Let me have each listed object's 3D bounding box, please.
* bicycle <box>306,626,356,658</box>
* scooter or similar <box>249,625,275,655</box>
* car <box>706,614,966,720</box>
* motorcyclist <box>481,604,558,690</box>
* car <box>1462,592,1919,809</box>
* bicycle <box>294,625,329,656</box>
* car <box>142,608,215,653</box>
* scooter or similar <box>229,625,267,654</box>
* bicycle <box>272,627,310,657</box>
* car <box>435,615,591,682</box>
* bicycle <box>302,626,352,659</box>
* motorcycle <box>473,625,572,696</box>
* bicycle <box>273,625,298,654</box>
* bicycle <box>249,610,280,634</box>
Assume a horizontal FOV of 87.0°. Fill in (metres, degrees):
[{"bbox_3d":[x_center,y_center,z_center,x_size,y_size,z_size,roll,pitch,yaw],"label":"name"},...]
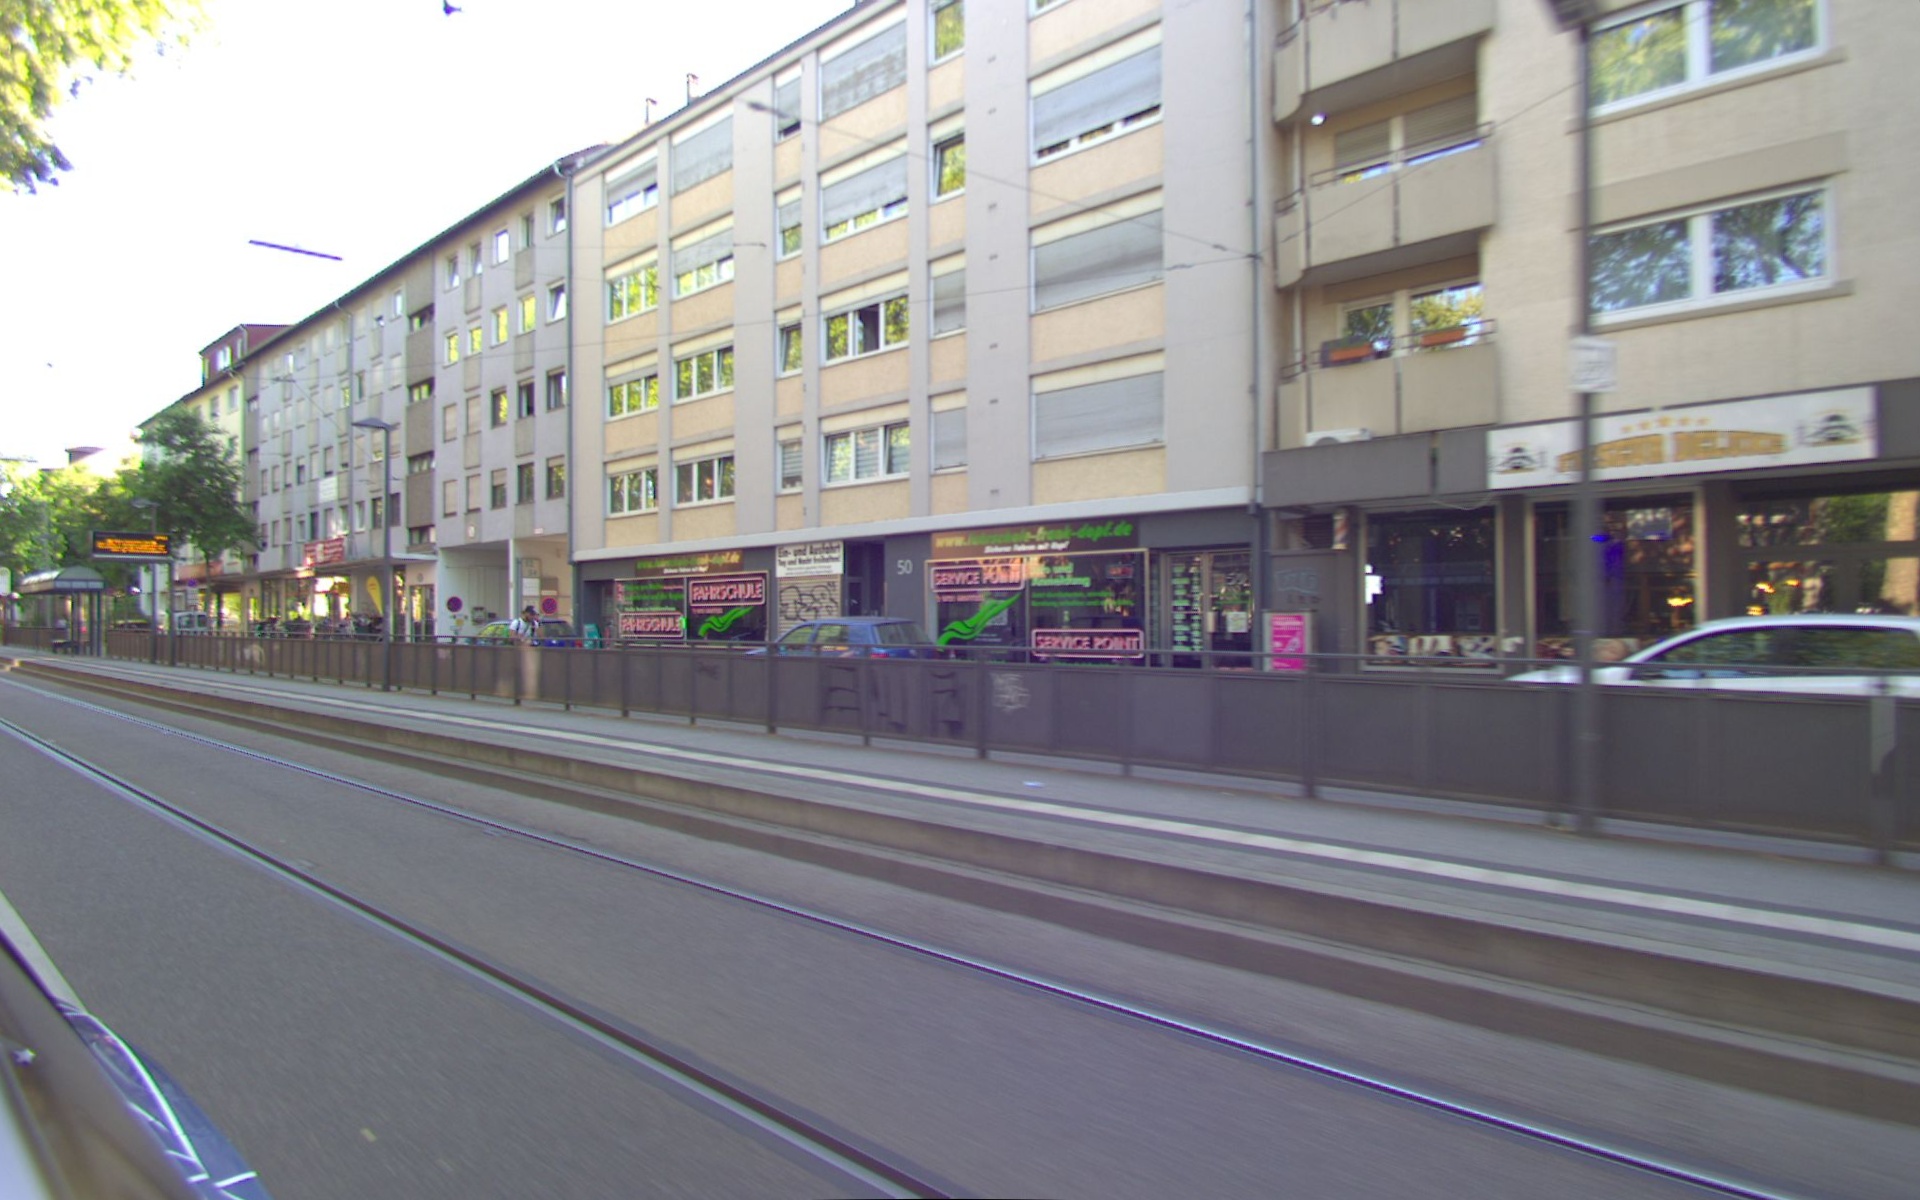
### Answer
[{"bbox_3d":[-23.133,1.537,37.215,2.019,1.165,0.556,-1,-2,26],"label":"bicycle"},{"bbox_3d":[-28.074,1.605,40.701,1.272,1.183,0.440,-1,-2,36],"label":"scooter or similar"},{"bbox_3d":[-2.176,1.045,17.088,4.386,1.556,1.935,-1,-3,41],"label":"car"},{"bbox_3d":[-7.703,0.807,17.704,1.015,1.451,0.864,-1,-2,40],"label":"motorcyclist"},{"bbox_3d":[7.161,0.816,9.199,4.354,1.664,1.859,-1,-2,40],"label":"car"},{"bbox_3d":[-24.760,1.531,38.626,1.748,1.165,0.488,-1,-2,35],"label":"bicycle"},{"bbox_3d":[-35.850,1.386,46.412,4.045,1.949,1.785,-1,-2,39],"label":"car"},{"bbox_3d":[-29.156,1.628,41.461,1.259,1.183,0.445,0,-2,4],"label":"scooter or similar"},{"bbox_3d":[-26.305,1.652,39.782,2.033,1.165,0.565,-1,-2,35],"label":"bicycle"},{"bbox_3d":[-10.799,1.130,24.331,4.279,1.475,1.776,-1,-3,41],"label":"car"},{"bbox_3d":[-23.010,1.537,36.787,2.019,1.165,0.556,-1,-2,26],"label":"bicycle"},{"bbox_3d":[-7.653,1.019,17.673,1.913,1.173,0.840,-1,-2,40],"label":"motorcycle"},{"bbox_3d":[-27.865,1.618,41.806,1.688,1.165,0.506,-2,-2,44],"label":"bicycle"},{"bbox_3d":[-34.390,1.109,50.046,2.033,1.165,0.565,-1,-2,35],"label":"bicycle"}]
